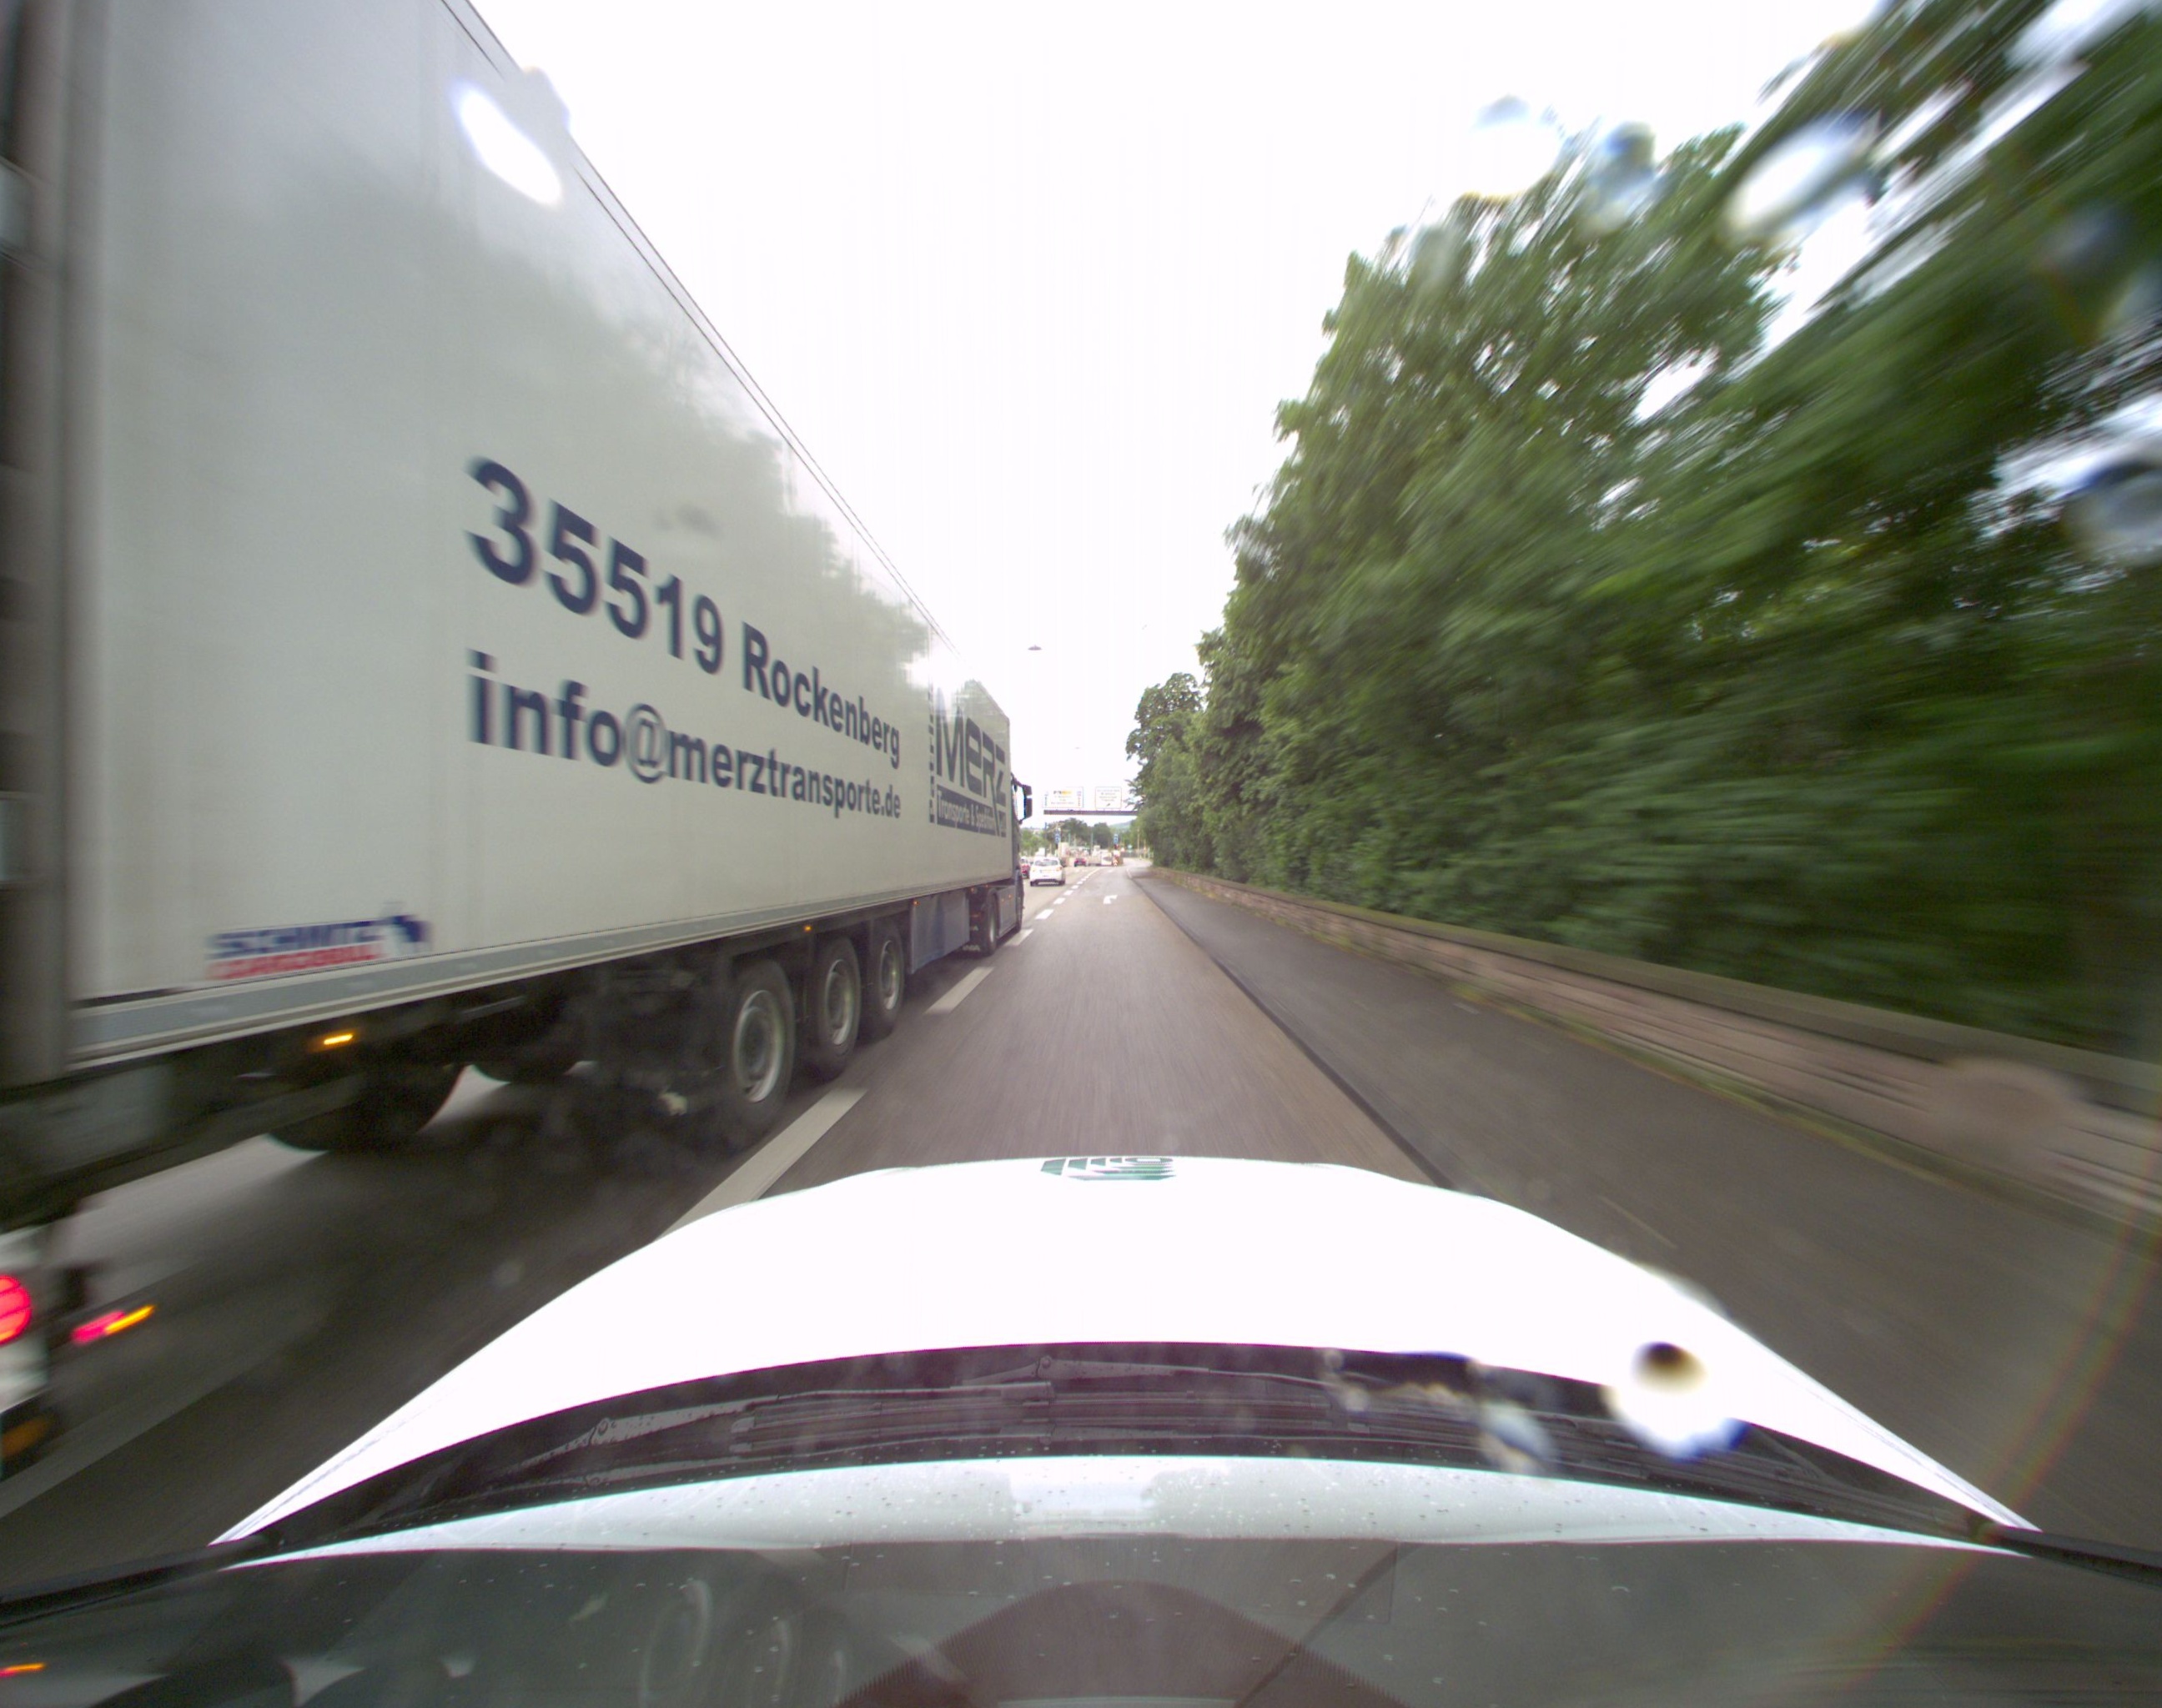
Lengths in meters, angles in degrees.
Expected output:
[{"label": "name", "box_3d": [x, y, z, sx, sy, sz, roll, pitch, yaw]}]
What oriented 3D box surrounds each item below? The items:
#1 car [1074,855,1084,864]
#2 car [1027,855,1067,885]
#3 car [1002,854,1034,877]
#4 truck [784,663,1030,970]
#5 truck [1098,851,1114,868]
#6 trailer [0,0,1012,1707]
[{"label": "car", "box_3d": [-0.294, 0.899, 125.153, 1.421, 1.354, 2.961, 0, 0, 2]}, {"label": "car", "box_3d": [-1.755, 0.809, 43.097, 1.803, 1.423, 4.002, -1, 1, 2]}, {"label": "car", "box_3d": [-4.277, 0.754, 55.787, 1.675, 1.446, 4.002, -1, 1, 2]}, {"label": "truck", "box_3d": [-2.624, -0.525, 14.470, 2.745, 4.205, 6.309, -1, 0, 2]}, {"label": "truck", "box_3d": [5.917, 1.334, 192.539, 3.505, 4.040, 8.078, -1, -1, 2]}, {"label": "trailer", "box_3d": [-2.871, -0.526, 7.763, 2.752, 4.252, 13.189, -1, 0, 2]}]
